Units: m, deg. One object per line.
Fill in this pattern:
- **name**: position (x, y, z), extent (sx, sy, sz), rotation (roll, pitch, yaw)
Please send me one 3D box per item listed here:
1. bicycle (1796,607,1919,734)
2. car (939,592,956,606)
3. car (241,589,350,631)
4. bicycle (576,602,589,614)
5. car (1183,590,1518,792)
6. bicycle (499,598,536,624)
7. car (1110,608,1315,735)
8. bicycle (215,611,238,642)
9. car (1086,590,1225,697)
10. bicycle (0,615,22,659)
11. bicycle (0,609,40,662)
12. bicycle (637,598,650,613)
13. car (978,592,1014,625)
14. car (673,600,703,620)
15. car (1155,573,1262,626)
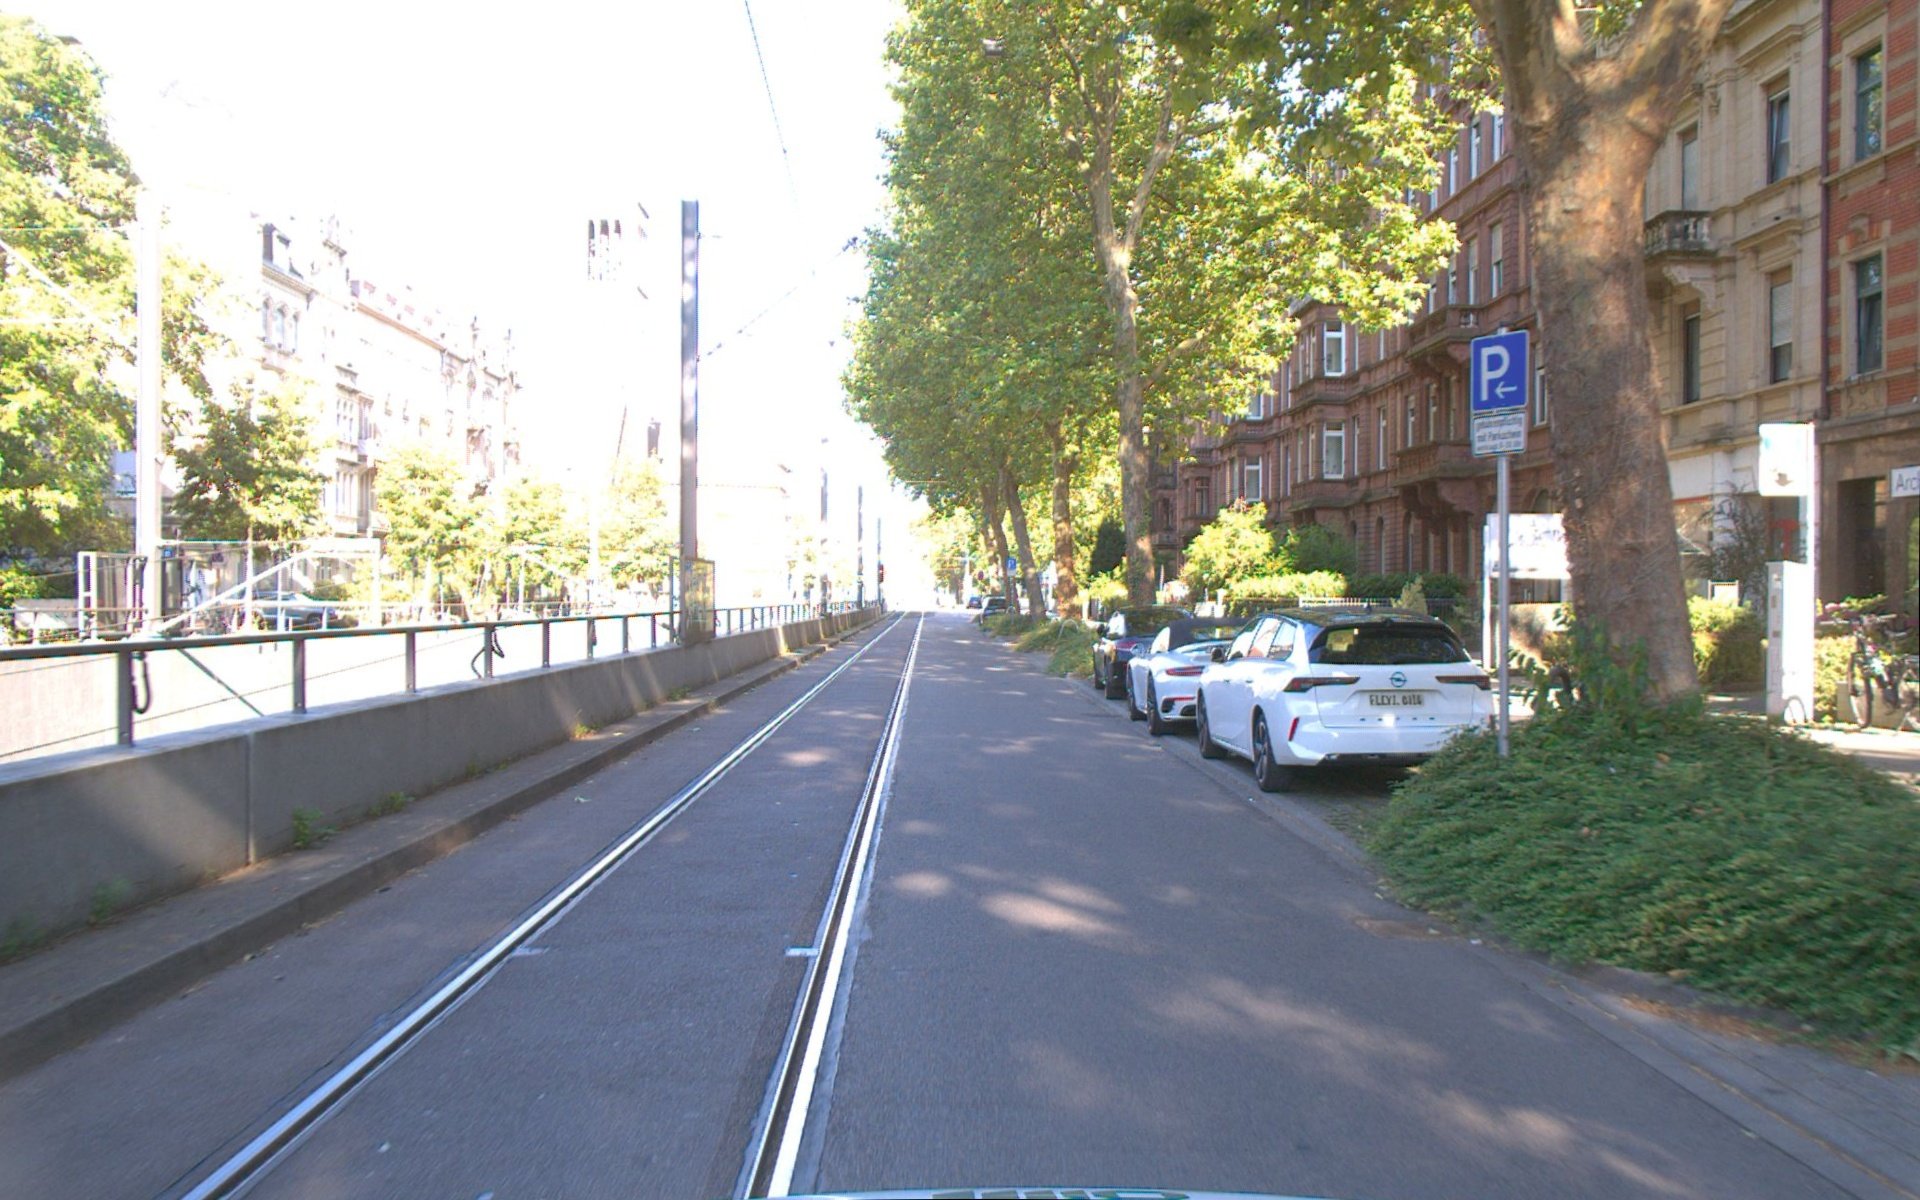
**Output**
- **bicycle**: position (9.056, 0.665, 16.444), extent (0.465, 1.163, 1.895), rotation (-2, 0, -1)
- **car**: position (-1.345, -0.129, 182.141), extent (1.710, 1.487, 3.643), rotation (3, 0, -2)
- **car**: position (-28.038, 0.429, 69.866), extent (3.915, 1.653, 1.821), rotation (2, 0, -10)
- **bicycle**: position (-26.041, 0.568, 114.112), extent (0.408, 0.814, 1.888), rotation (3, 0, 2)
- **car**: position (3.242, 0.680, 14.721), extent (1.766, 1.503, 4.645), rotation (0, 0, -2)
- **bicycle**: position (-22.205, 0.537, 83.070), extent (1.694, 1.302, 0.600), rotation (0, 0, 5)
- **car**: position (2.918, 0.783, 19.934), extent (1.793, 1.350, 3.999), rotation (0, 0, -1)
- **bicycle**: position (-24.966, 0.920, 56.274), extent (0.449, 1.023, 1.923), rotation (3, -3, -32)
- **car**: position (3.082, 0.641, 26.923), extent (1.696, 1.563, 4.805), rotation (0, 0, 0)
- **bicycle**: position (-21.423, 0.801, 36.451), extent (1.252, 0.921, 0.533), rotation (3, 0, -32)
- **bicycle**: position (-21.312, 0.741, 35.838), extent (2.344, 1.117, 0.551), rotation (3, 0, -32)
- **bicycle**: position (-22.951, 0.418, 119.998), extent (0.479, 1.040, 1.878), rotation (3, 0, -25)
- **car**: position (1.812, 0.412, 84.414), extent (1.584, 1.615, 4.415), rotation (-1, 0, -2)
- **car**: position (-23.105, 0.806, 140.666), extent (1.680, 1.582, 4.510), rotation (3, 0, 1)
- **car**: position (10.482, -0.036, 69.852), extent (4.093, 2.049, 1.999), rotation (-2, 0, -3)
